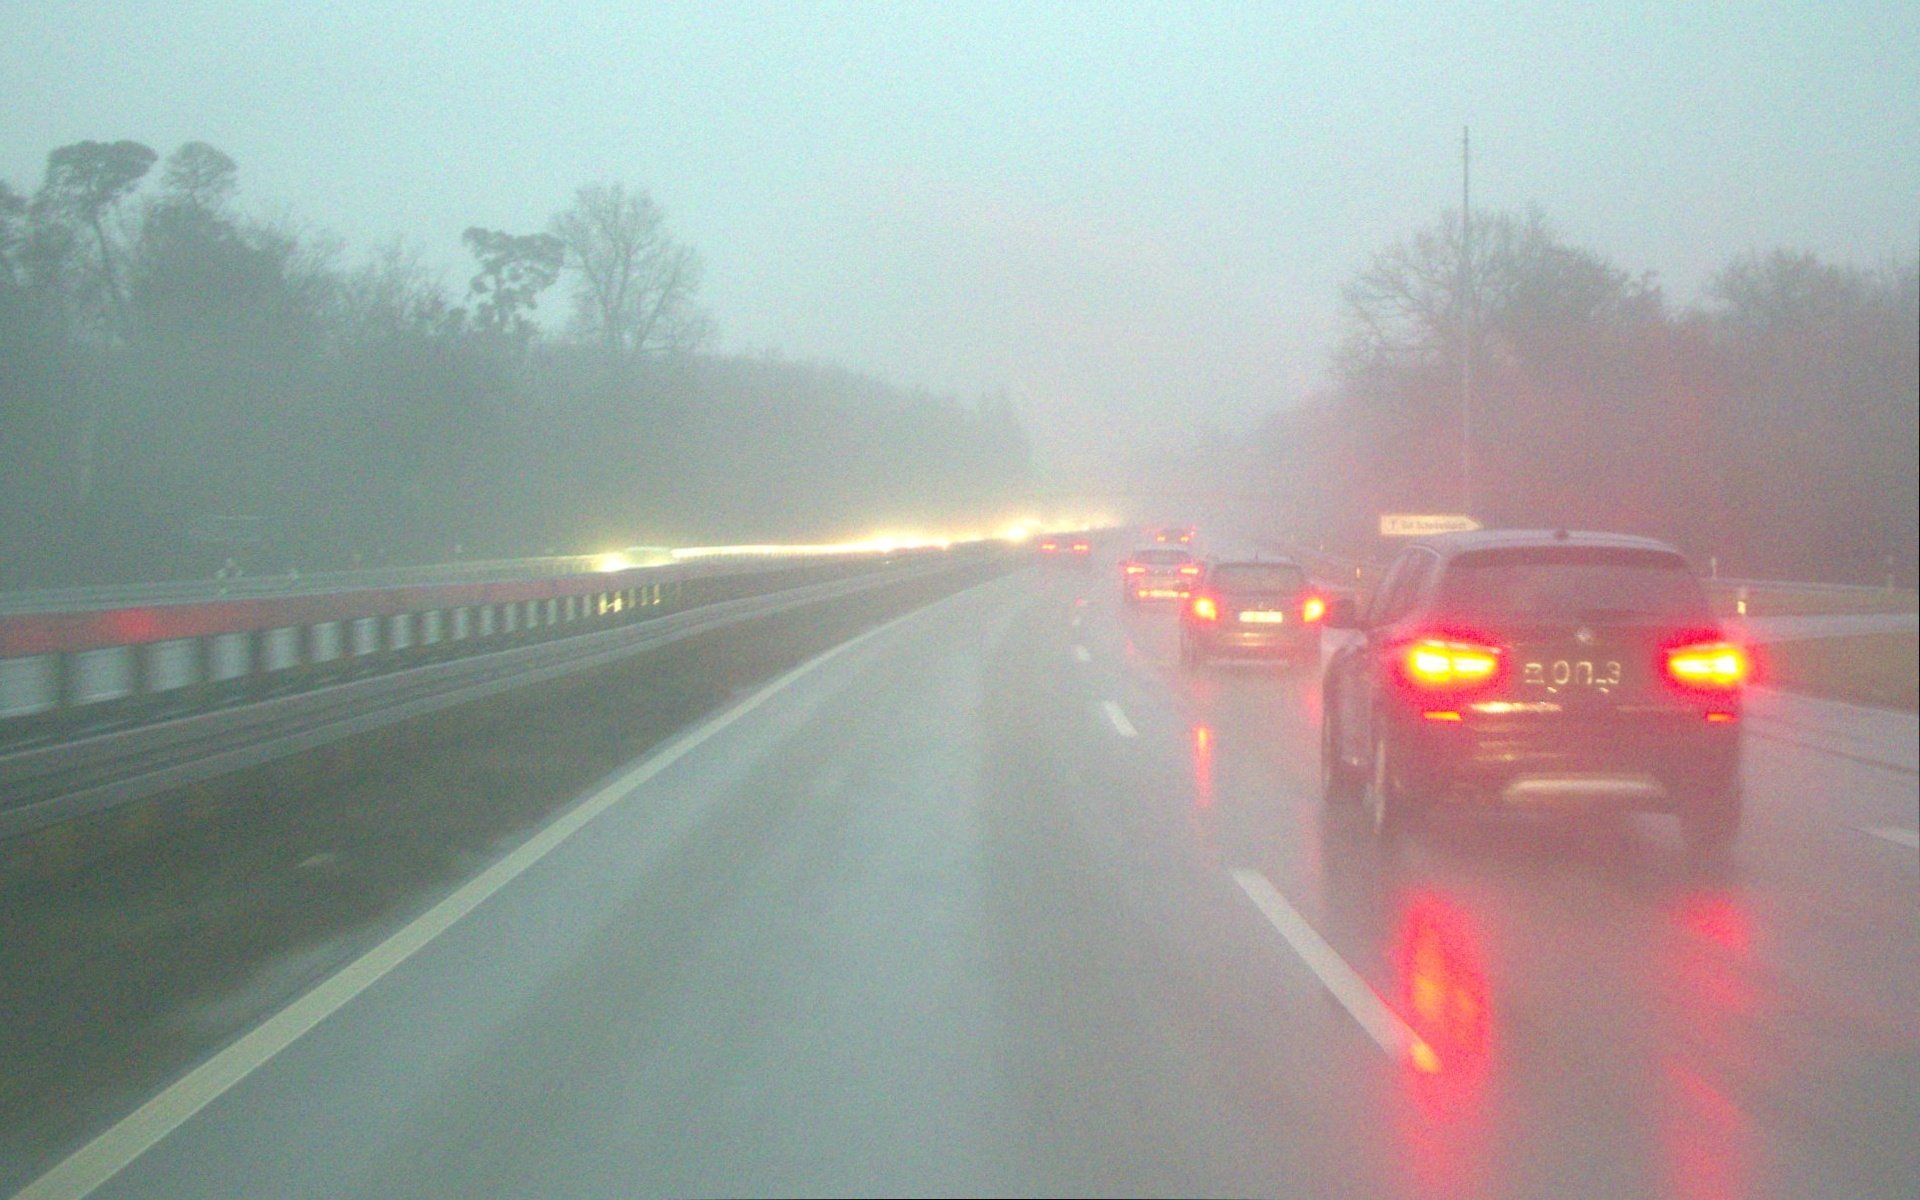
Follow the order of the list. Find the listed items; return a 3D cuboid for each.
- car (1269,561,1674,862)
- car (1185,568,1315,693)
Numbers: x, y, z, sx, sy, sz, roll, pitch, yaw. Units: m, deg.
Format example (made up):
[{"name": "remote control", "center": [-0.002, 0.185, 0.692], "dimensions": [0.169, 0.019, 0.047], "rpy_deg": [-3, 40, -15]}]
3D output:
[{"name": "car", "center": [2.815, 0.554, 19.686], "dimensions": [1.678, 1.503, 3.809], "rpy_deg": [0, 1, -1]}, {"name": "car", "center": [3.710, 0.357, 44.409], "dimensions": [1.595, 1.485, 3.594], "rpy_deg": [0, 1, 4]}]
